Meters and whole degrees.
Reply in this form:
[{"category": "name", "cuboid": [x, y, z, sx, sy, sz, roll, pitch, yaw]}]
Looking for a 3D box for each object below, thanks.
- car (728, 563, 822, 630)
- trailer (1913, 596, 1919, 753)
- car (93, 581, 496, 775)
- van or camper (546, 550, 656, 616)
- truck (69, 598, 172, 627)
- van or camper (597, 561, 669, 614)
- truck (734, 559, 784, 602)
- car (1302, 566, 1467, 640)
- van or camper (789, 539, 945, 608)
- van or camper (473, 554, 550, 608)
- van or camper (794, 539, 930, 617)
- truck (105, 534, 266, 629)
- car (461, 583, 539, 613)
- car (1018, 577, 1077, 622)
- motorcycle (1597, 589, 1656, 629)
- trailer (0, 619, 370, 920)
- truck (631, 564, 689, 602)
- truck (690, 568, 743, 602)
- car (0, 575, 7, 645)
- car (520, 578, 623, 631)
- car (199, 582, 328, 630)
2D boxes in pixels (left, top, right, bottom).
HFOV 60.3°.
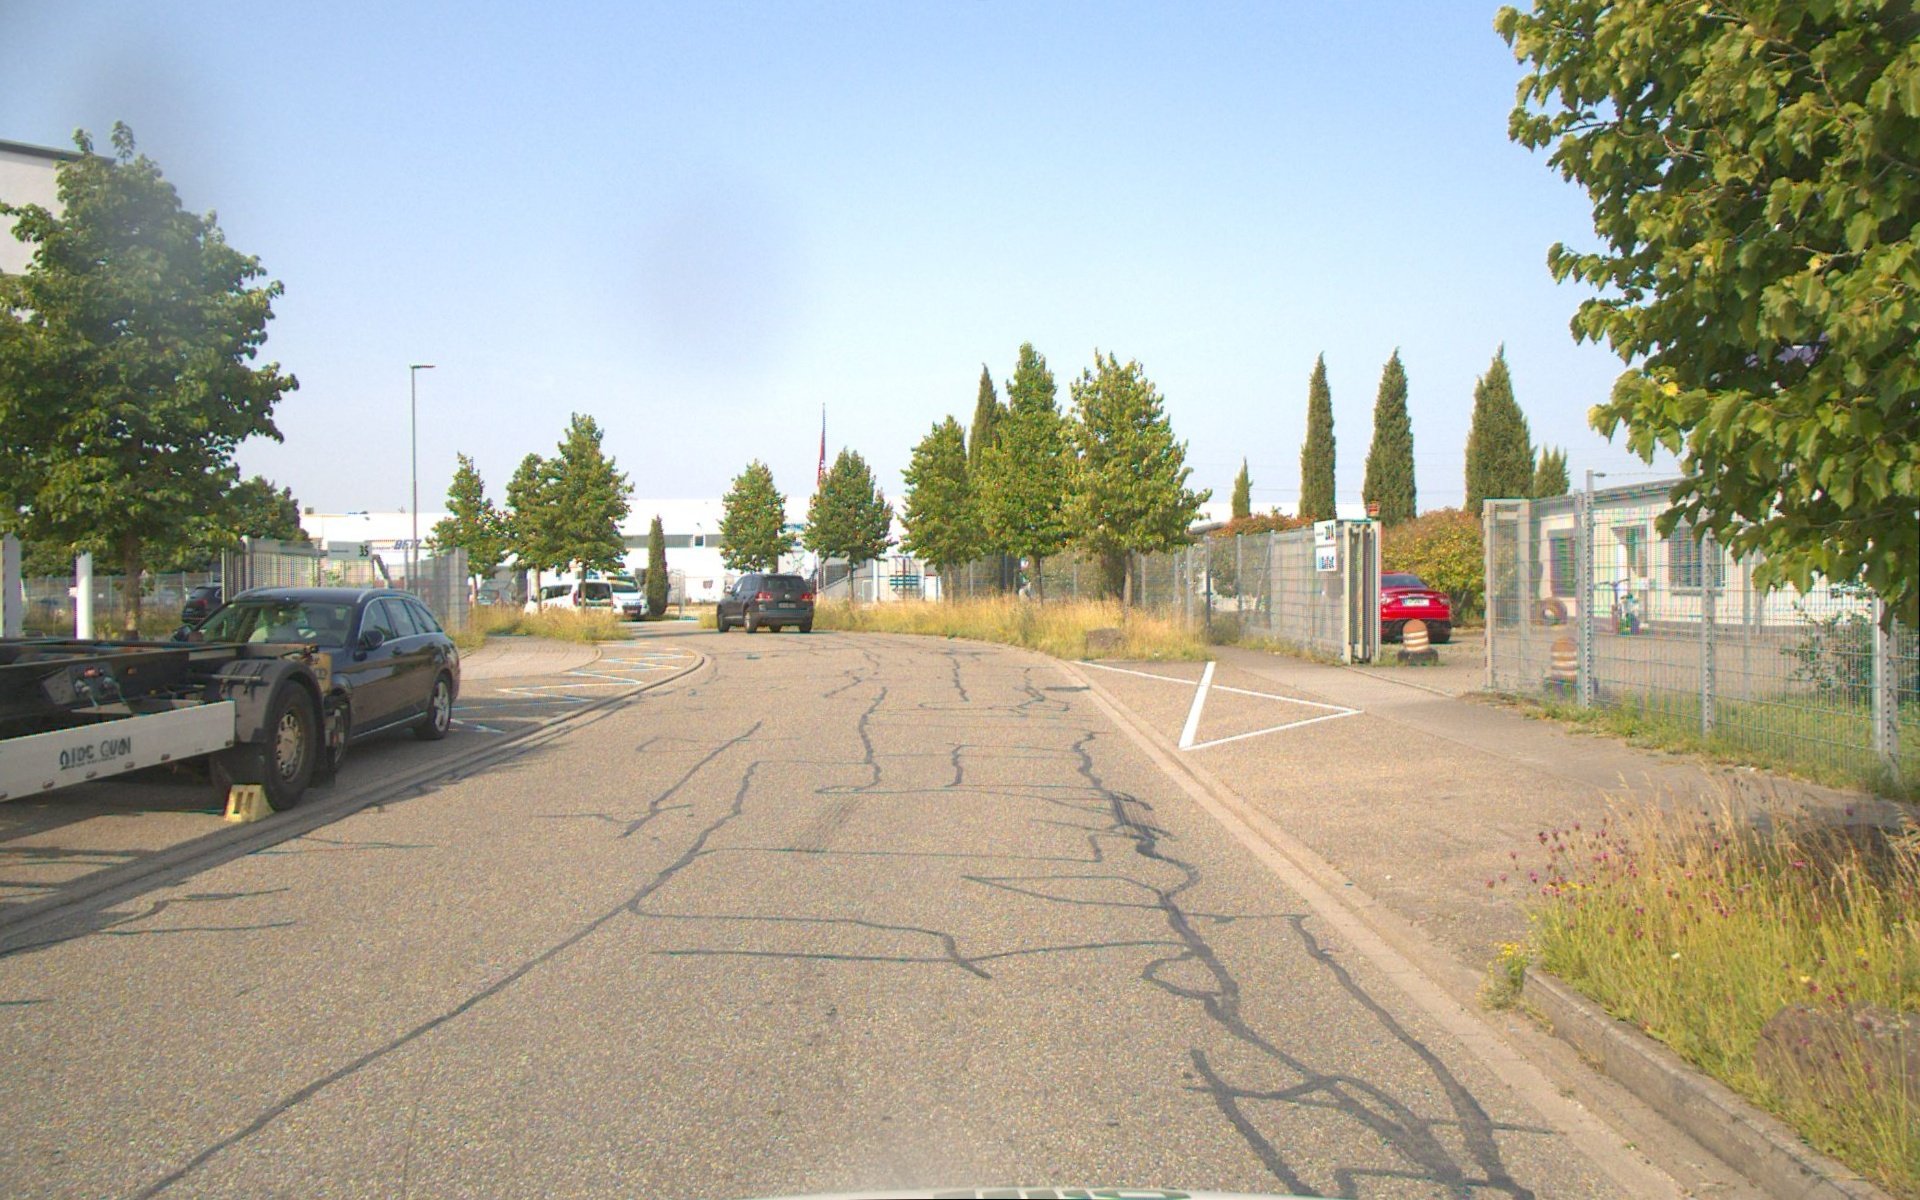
[{"category": "car", "cuboid": [-5.401, -0.092, 47.982, 1.962, 1.836, 3.980, 1, 0, -18]}, {"category": "trailer", "cuboid": [8.825, 0.611, 11.037, 2.083, 1.265, 4.794, -1, 1, -2]}, {"category": "car", "cuboid": [-5.956, 0.605, 15.476, 1.953, 1.492, 4.433, 1, 1, 0]}, {"category": "van or camper", "cuboid": [-16.900, -0.791, 77.574, 2.314, 2.995, 6.877, -1, 1, -38]}, {"category": "truck", "cuboid": [-40.944, 0.591, 80.562, 6.415, 1.287, 2.516, 0, 1, 44]}, {"category": "van or camper", "cuboid": [-16.854, -0.692, 85.521, 2.432, 2.603, 6.625, 0, 1, 0]}, {"category": "truck", "cuboid": [-13.980, -1.337, 115.339, 2.400, 2.875, 8.003, 0, 1, 0]}, {"category": "car", "cuboid": [8.492, 0.026, 33.518, 1.843, 1.381, 4.770, -1, 1, -4]}, {"category": "van or camper", "cuboid": [-4.368, -1.214, 77.083, 7.120, 3.085, 2.582, -1, 0, -7]}, {"category": "van or camper", "cuboid": [-27.081, -1.178, 100.154, 2.607, 3.138, 6.797, 0, 1, 2]}, {"category": "van or camper", "cuboid": [-3.980, -0.830, 65.499, 2.325, 2.897, 7.264, 0, 0, -31]}, {"category": "truck", "cuboid": [-35.184, -0.756, 74.767, 2.615, 3.998, 12.707, 0, 0, -44]}, {"category": "car", "cuboid": [-23.648, -0.122, 85.146, 2.119, 1.502, 4.003, -1, 1, 15]}, {"category": "car", "cuboid": [3.357, -0.049, 64.351, 1.689, 1.672, 3.995, 1, 1, -6]}, {"category": "motorcycle", "cuboid": [13.592, 0.181, 33.755, 0.523, 0.764, 1.583, -2, 1, -1]}, {"category": "trailer", "cuboid": [-5.591, 0.854, 9.108, 2.086, 1.254, 7.158, 1, 1, 0]}, {"category": "truck", "cuboid": [-20.367, -1.181, 112.667, 2.400, 2.514, 8.003, 0, 1, 0]}, {"category": "truck", "cuboid": [-16.904, -1.043, 115.224, 2.400, 2.304, 8.003, 0, 1, 0]}, {"category": "car", "cuboid": [-21.786, 0.222, 35.333, 1.552, 1.440, 3.856, -1, 1, -45]}, {"category": "car", "cuboid": [-14.857, 0.144, 63.124, 1.983, 1.932, 4.400, -1, 1, -41]}, {"category": "car", "cuboid": [-22.207, 0.195, 52.826, 1.568, 1.479, 3.483, 0, 0, 41]}]
